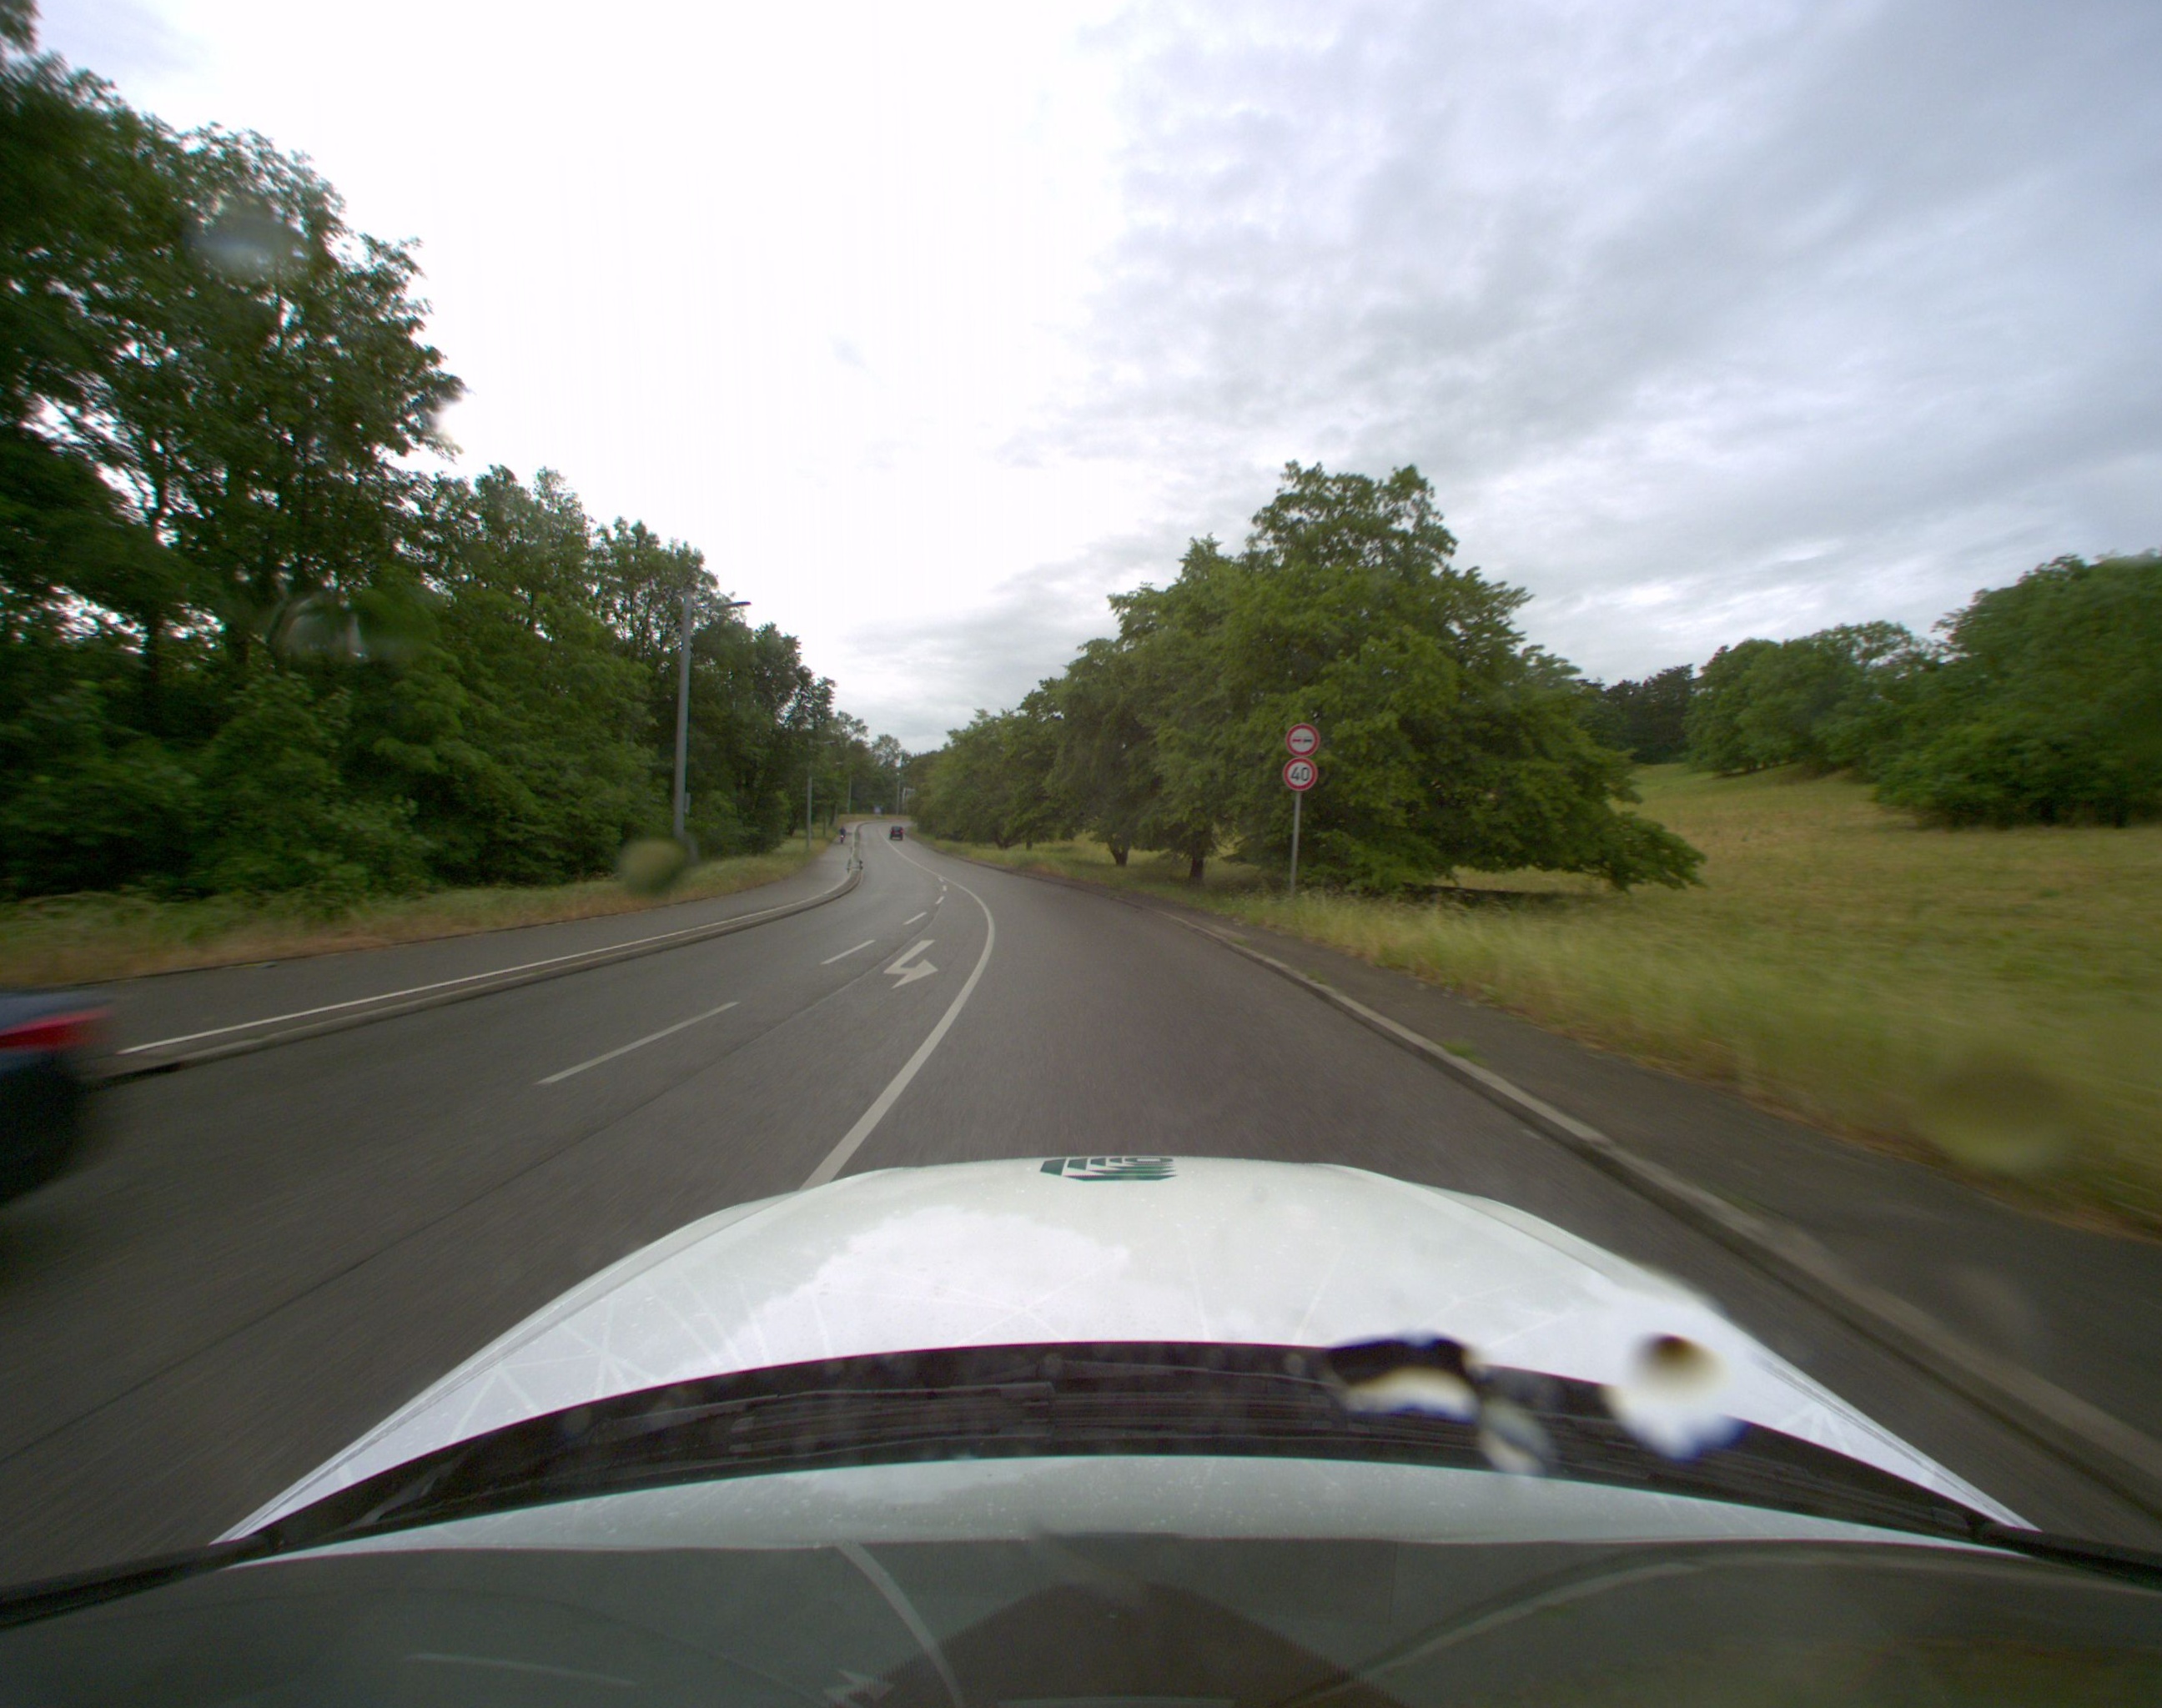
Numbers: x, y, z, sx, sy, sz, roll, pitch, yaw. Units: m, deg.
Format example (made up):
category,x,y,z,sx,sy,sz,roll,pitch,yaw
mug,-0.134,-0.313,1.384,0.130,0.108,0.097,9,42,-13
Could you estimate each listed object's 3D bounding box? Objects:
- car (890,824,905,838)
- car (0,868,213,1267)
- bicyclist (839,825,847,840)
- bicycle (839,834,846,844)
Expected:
category,x,y,z,sx,sy,sz,roll,pitch,yaw
car,-24.964,-3.141,110.562,1.744,1.716,3.981,3,1,-15
car,-5.086,0.816,1.516,1.839,1.501,4.634,-1,-1,3
bicyclist,-25.261,-2.304,86.464,0.710,1.556,1.164,4,1,-16
bicycle,-25.277,-1.584,86.337,0.725,0.941,2.537,4,1,-16
